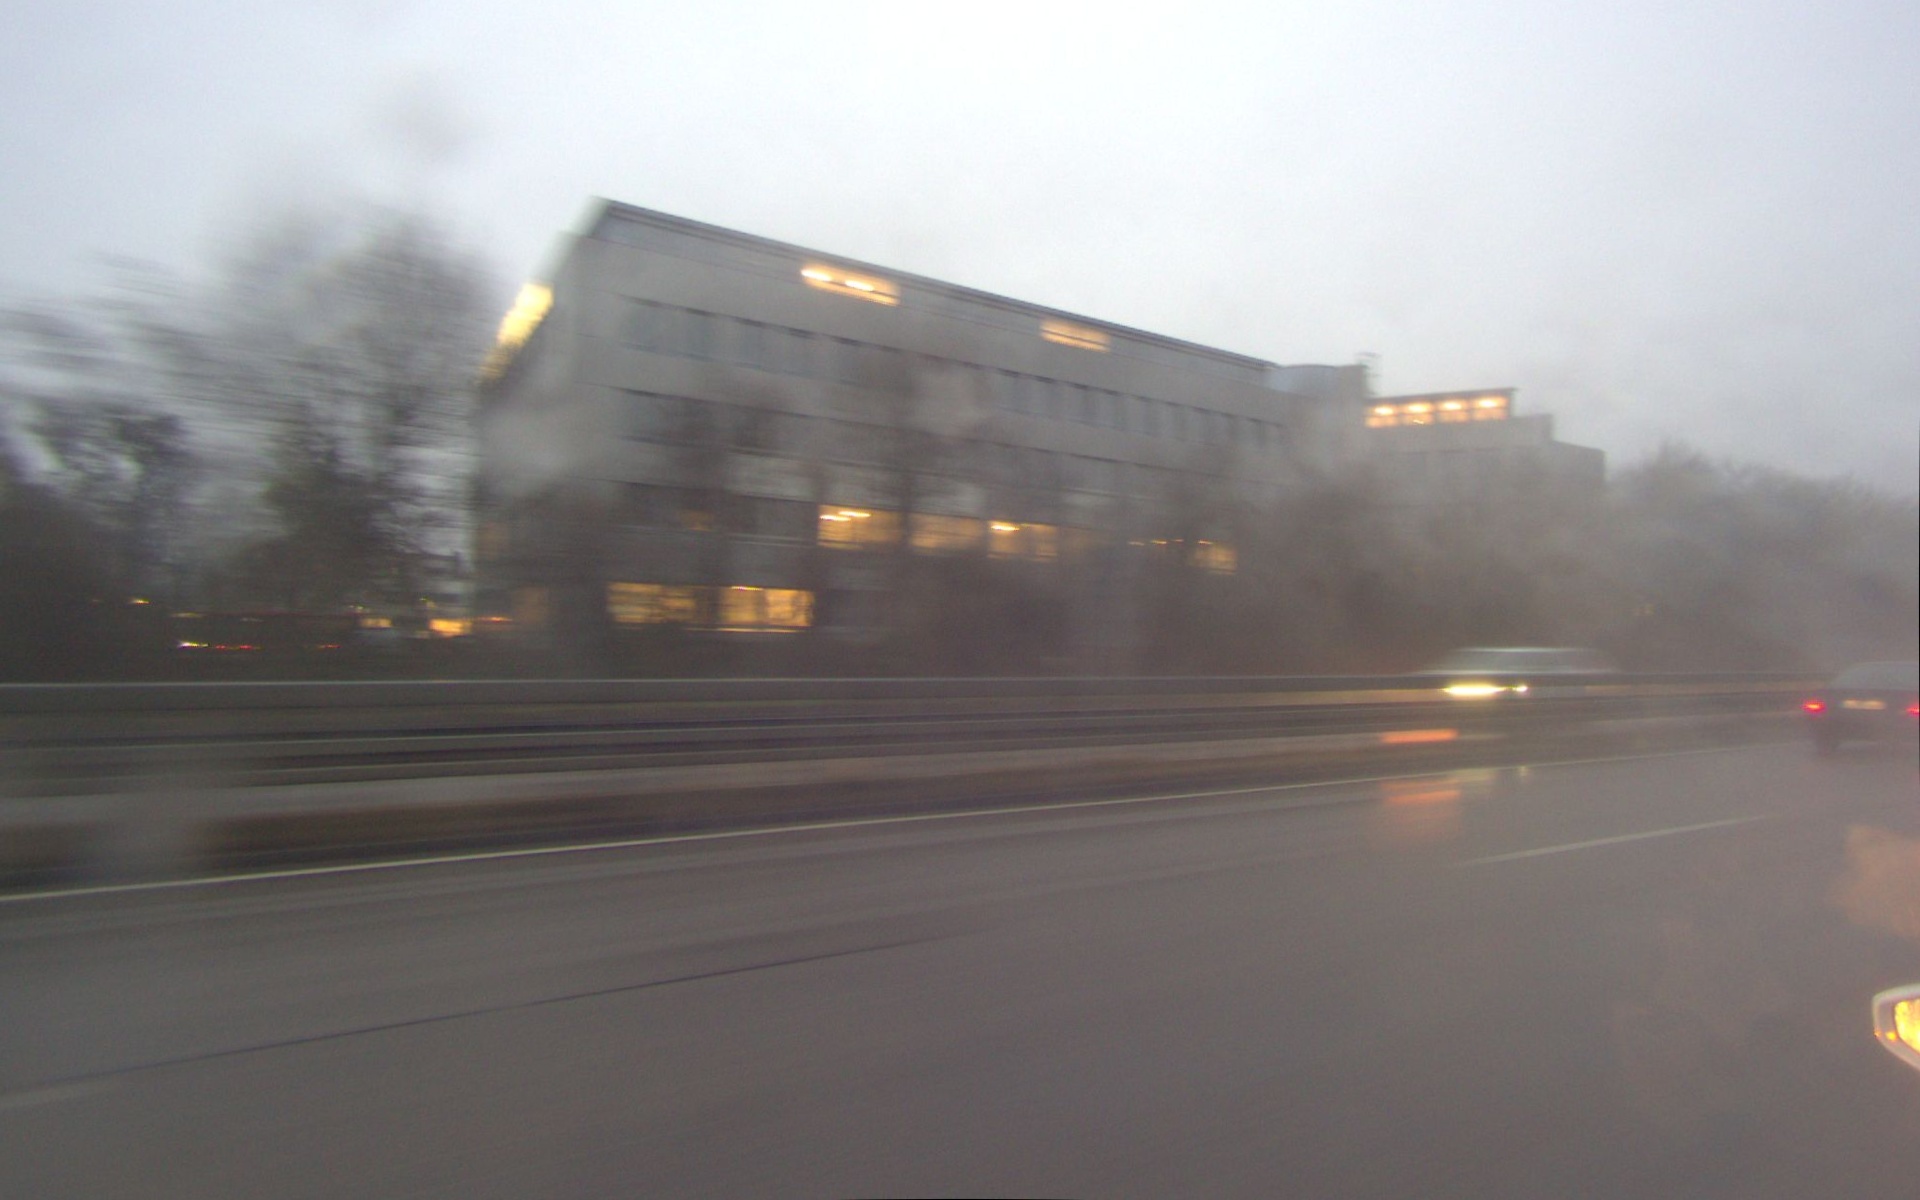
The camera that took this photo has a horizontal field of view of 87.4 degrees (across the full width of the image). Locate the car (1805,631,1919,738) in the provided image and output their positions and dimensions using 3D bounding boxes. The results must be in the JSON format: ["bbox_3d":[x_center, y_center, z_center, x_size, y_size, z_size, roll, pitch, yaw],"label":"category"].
[{"bbox_3d":[15.771,1.283,16.101,4.643,1.554,1.770,1,-4,-28],"label":"car"}]

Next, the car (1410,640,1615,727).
[{"bbox_3d":[11.872,1.722,21.520,4.616,1.678,1.832,2,-2,-32],"label":"car"}]
